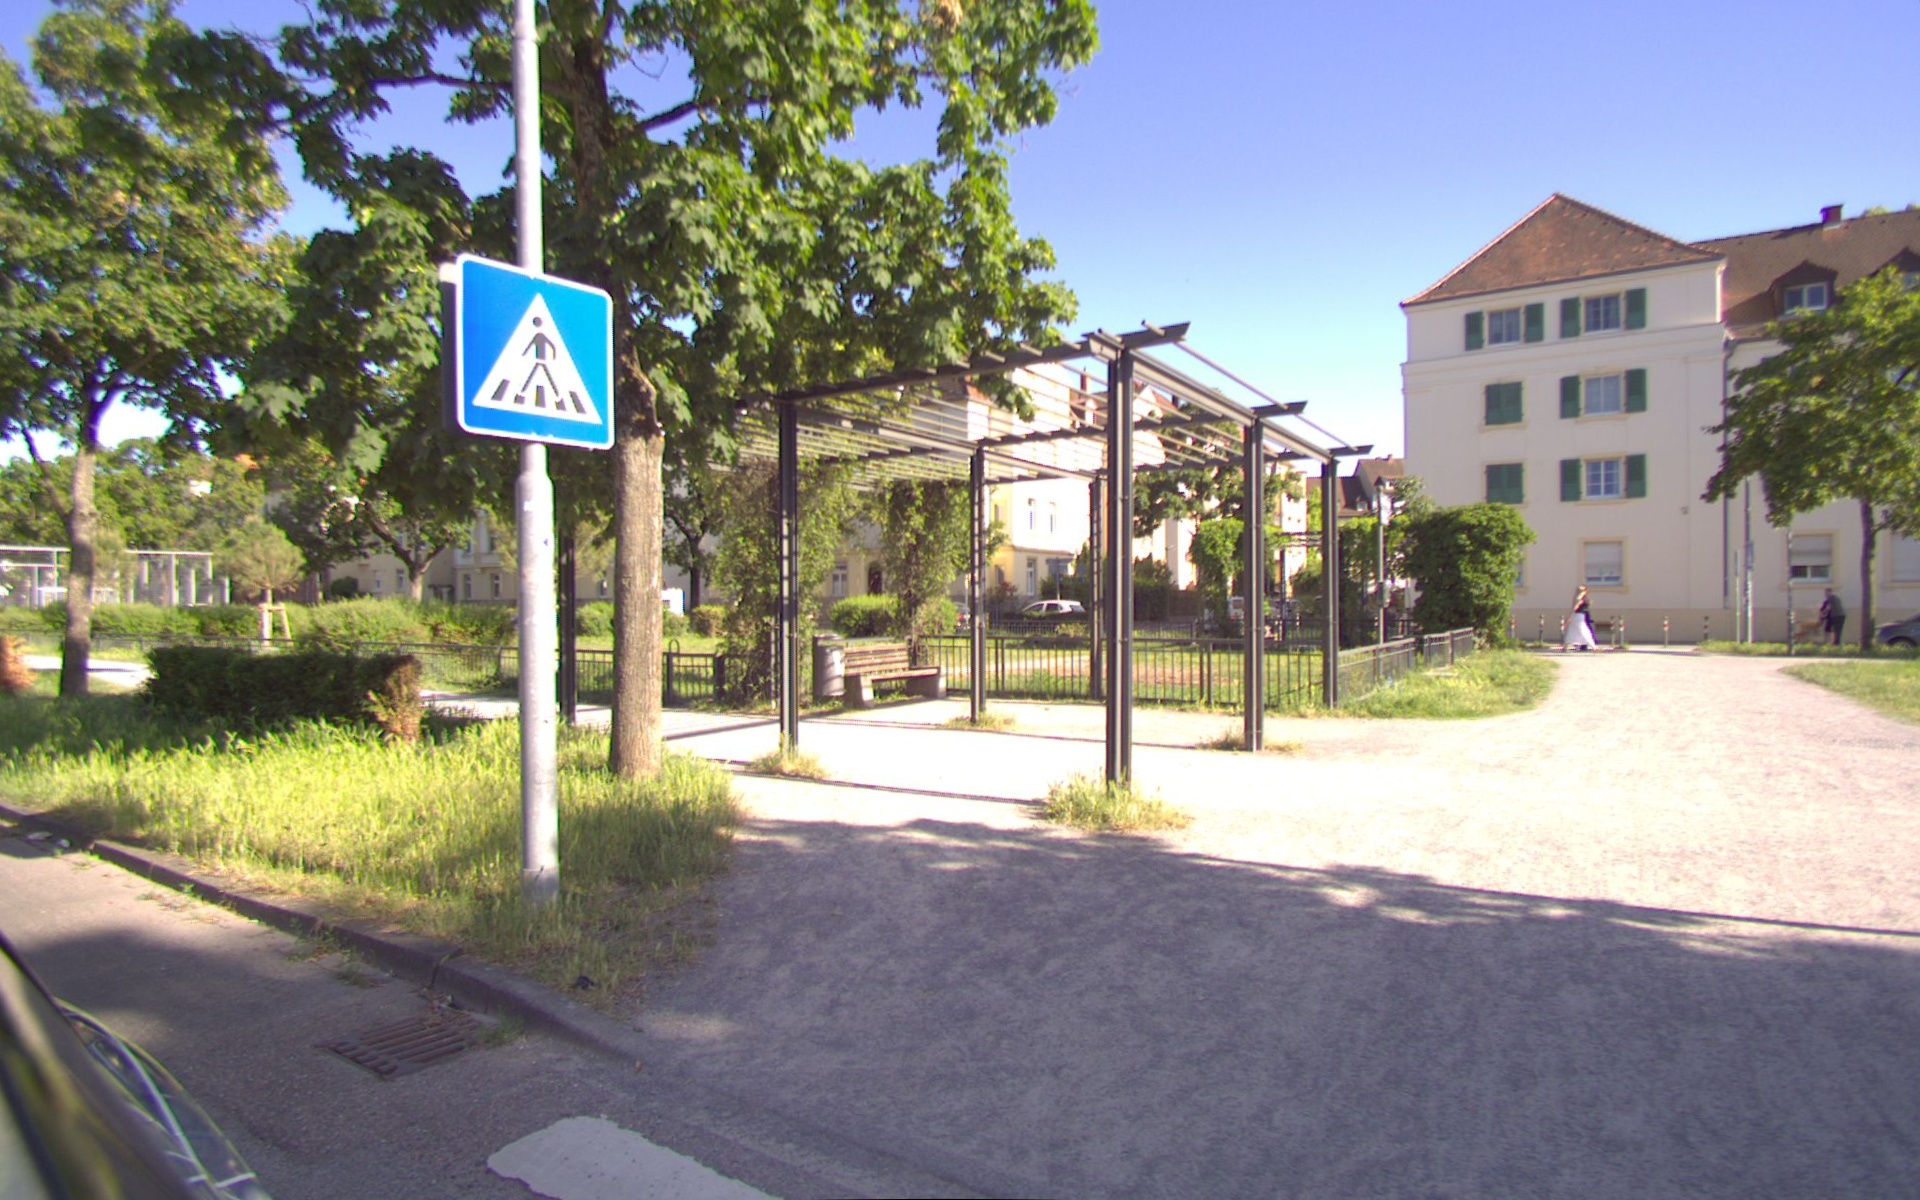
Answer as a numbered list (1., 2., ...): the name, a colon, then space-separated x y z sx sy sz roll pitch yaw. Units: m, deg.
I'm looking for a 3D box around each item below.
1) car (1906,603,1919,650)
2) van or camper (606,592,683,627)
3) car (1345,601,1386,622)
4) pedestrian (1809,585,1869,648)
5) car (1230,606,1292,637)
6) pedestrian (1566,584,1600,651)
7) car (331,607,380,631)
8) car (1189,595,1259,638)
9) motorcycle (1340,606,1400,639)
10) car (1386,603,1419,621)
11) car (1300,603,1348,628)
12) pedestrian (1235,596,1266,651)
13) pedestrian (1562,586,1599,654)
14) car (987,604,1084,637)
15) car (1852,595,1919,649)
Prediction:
1. car: 30.007 0.767 28.958 3.988 1.366 1.755 -1 0 33
2. van or camper: -19.192 0.551 61.493 4.362 2.029 2.249 0 0 34
3. car: 30.053 0.851 74.935 2.038 1.530 3.771 -1 0 35
4. pedestrian: 28.491 0.529 32.848 1.158 1.978 1.331 -1 0 28
5. car: 15.655 1.087 52.572 2.038 1.530 3.771 -1 0 35
6. pedestrian: 16.110 0.457 26.161 0.673 1.697 0.538 -1 -1 38
7. car: -48.327 1.515 80.851 3.990 1.807 1.933 -1 0 35
8. car: 12.653 0.741 48.357 2.038 1.970 3.771 -1 0 35
9. motorcycle: 16.729 0.902 41.313 2.138 1.315 0.809 -1 0 32
10. car: 39.477 1.055 90.258 2.038 1.530 3.771 -1 0 35
11. car: 23.718 0.977 65.886 2.038 1.530 3.771 -1 0 35
12. pedestrian: 7.871 0.634 27.427 0.671 1.450 0.539 -1 -1 31
13. pedestrian: 15.695 0.505 25.600 0.748 1.697 0.539 -1 -1 35
14. car: 3.185 0.851 42.853 3.701 1.341 1.734 -1 0 32
15. car: 24.961 0.529 25.489 3.504 1.343 1.637 -1 0 33
